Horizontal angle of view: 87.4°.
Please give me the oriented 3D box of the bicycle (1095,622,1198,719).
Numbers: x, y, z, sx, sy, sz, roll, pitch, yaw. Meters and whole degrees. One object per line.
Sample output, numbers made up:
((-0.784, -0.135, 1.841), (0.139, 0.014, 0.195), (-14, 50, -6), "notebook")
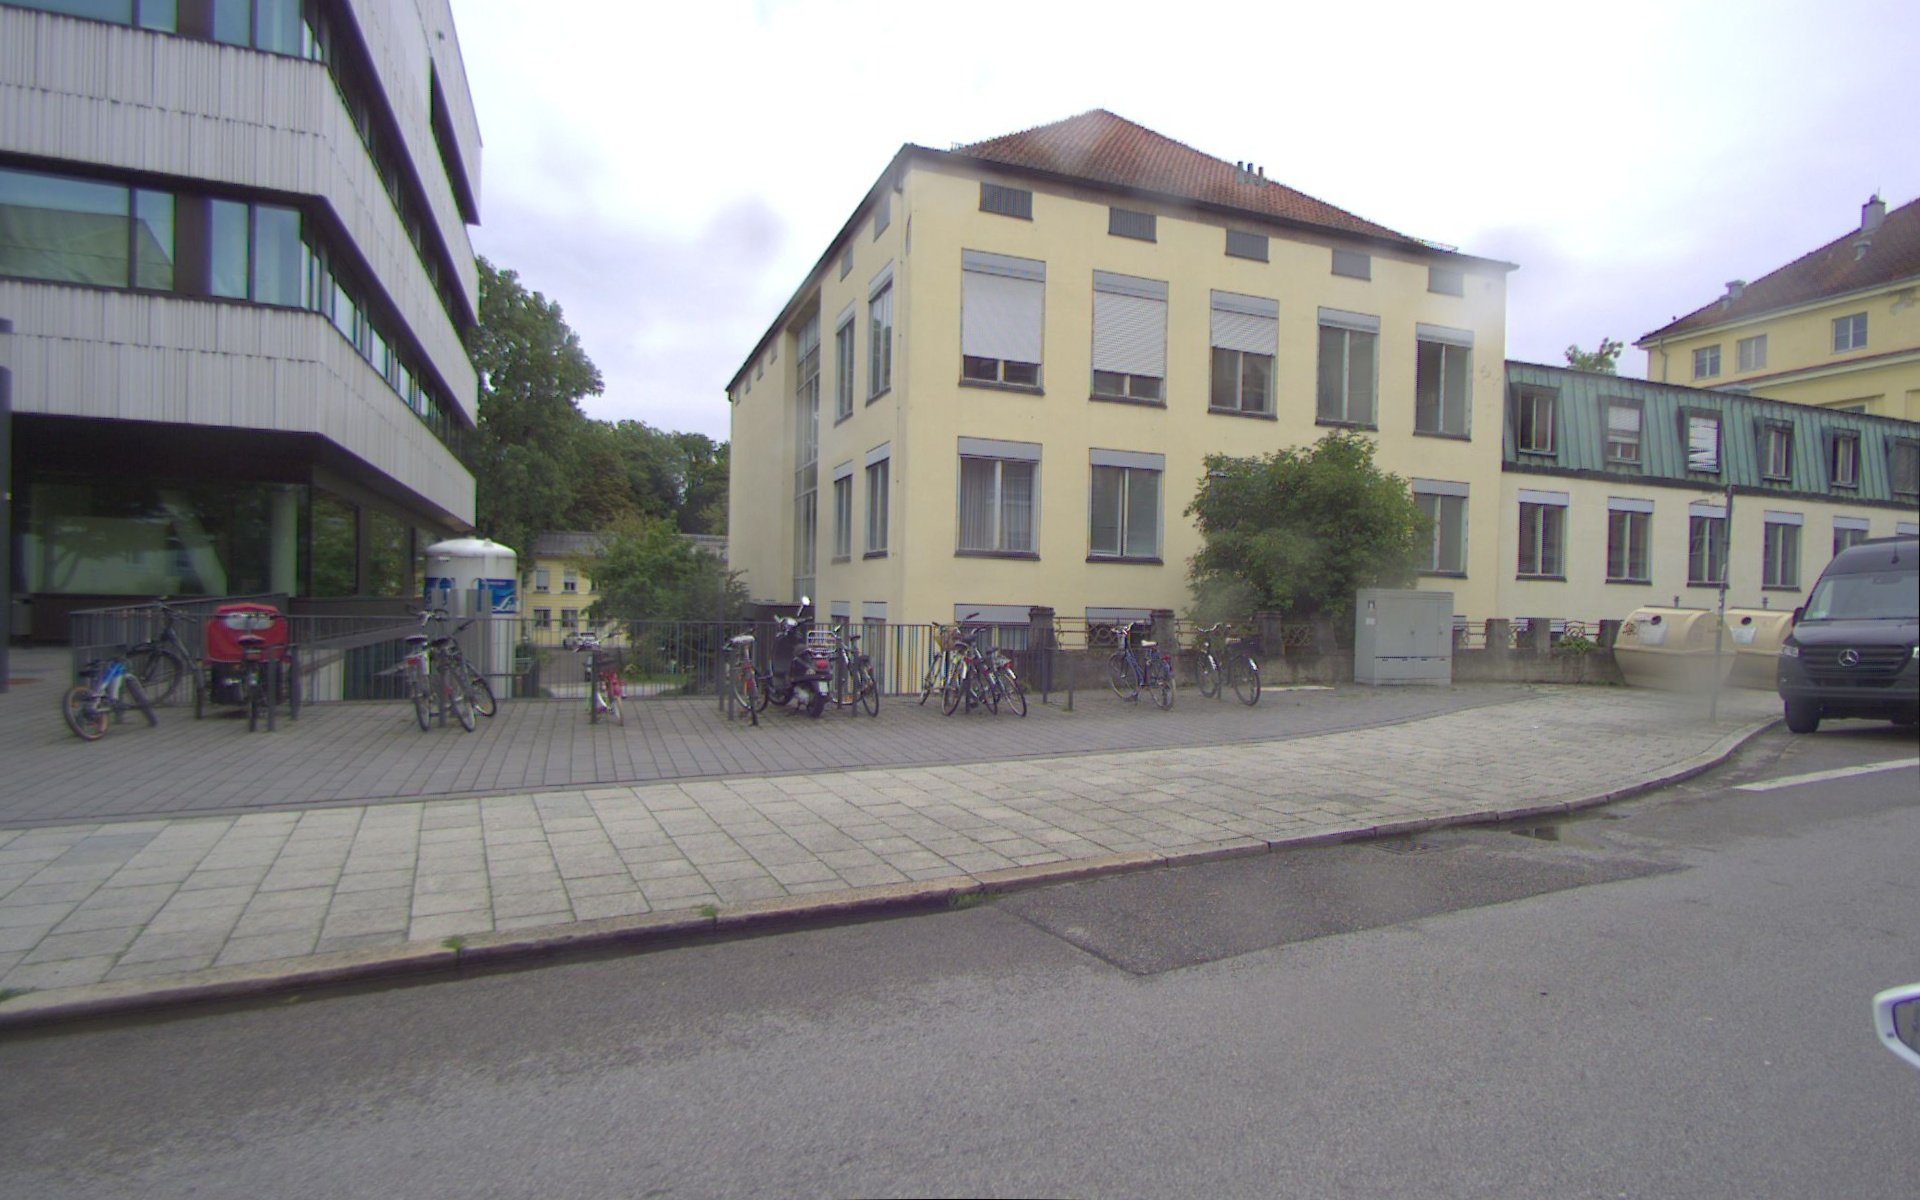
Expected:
((2.548, 0.931, 13.960), (0.564, 1.147, 1.955), (0, 2, -17), "bicycle")

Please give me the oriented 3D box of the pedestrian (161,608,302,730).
((-7.558, 0.690, 10.473), (1.025, 1.178, 0.716), (0, 2, -23), "pedestrian")

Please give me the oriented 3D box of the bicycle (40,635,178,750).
((-8.006, 0.825, 9.525), (0.432, 0.874, 1.716), (0, 2, -21), "bicycle")

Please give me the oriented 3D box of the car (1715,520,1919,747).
((13.727, 0.498, 14.492), (5.881, 2.751, 2.411), (2, -1, -29), "car")

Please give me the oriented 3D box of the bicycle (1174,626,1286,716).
((3.922, 0.999, 14.765), (0.666, 1.107, 1.903), (0, 2, -17), "bicycle")

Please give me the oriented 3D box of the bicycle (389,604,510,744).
((-5.357, 0.711, 10.677), (0.774, 1.244, 2.103), (0, 2, -17), "bicycle")

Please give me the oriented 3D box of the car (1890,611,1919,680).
((26.139, 1.177, 25.655), (3.941, 1.710, 1.989), (0, 2, -22), "car")

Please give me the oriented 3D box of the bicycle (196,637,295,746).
((-6.857, 0.846, 9.696), (0.432, 0.874, 1.369), (0, 2, -21), "bicycle")

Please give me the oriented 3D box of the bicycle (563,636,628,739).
((-4.021, 0.926, 11.149), (0.585, 0.929, 1.673), (0, 2, -17), "bicycle")

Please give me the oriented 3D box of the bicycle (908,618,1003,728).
((-0.104, 0.871, 12.850), (0.572, 1.150, 2.309), (0, 2, -17), "bicycle")

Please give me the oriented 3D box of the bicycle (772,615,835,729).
((-1.964, 0.814, 12.370), (0.417, 1.222, 2.552), (0, 0, -17), "bicycle")

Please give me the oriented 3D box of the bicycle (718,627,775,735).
((-2.496, 0.890, 11.644), (0.499, 1.047, 1.789), (0, 2, -17), "bicycle")

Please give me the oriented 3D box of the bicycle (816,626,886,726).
((-1.398, 0.908, 12.592), (0.531, 1.043, 1.865), (0, 2, -17), "bicycle")

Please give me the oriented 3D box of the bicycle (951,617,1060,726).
((0.533, 0.869, 13.162), (0.626, 1.156, 2.485), (0, 2, -17), "bicycle")
